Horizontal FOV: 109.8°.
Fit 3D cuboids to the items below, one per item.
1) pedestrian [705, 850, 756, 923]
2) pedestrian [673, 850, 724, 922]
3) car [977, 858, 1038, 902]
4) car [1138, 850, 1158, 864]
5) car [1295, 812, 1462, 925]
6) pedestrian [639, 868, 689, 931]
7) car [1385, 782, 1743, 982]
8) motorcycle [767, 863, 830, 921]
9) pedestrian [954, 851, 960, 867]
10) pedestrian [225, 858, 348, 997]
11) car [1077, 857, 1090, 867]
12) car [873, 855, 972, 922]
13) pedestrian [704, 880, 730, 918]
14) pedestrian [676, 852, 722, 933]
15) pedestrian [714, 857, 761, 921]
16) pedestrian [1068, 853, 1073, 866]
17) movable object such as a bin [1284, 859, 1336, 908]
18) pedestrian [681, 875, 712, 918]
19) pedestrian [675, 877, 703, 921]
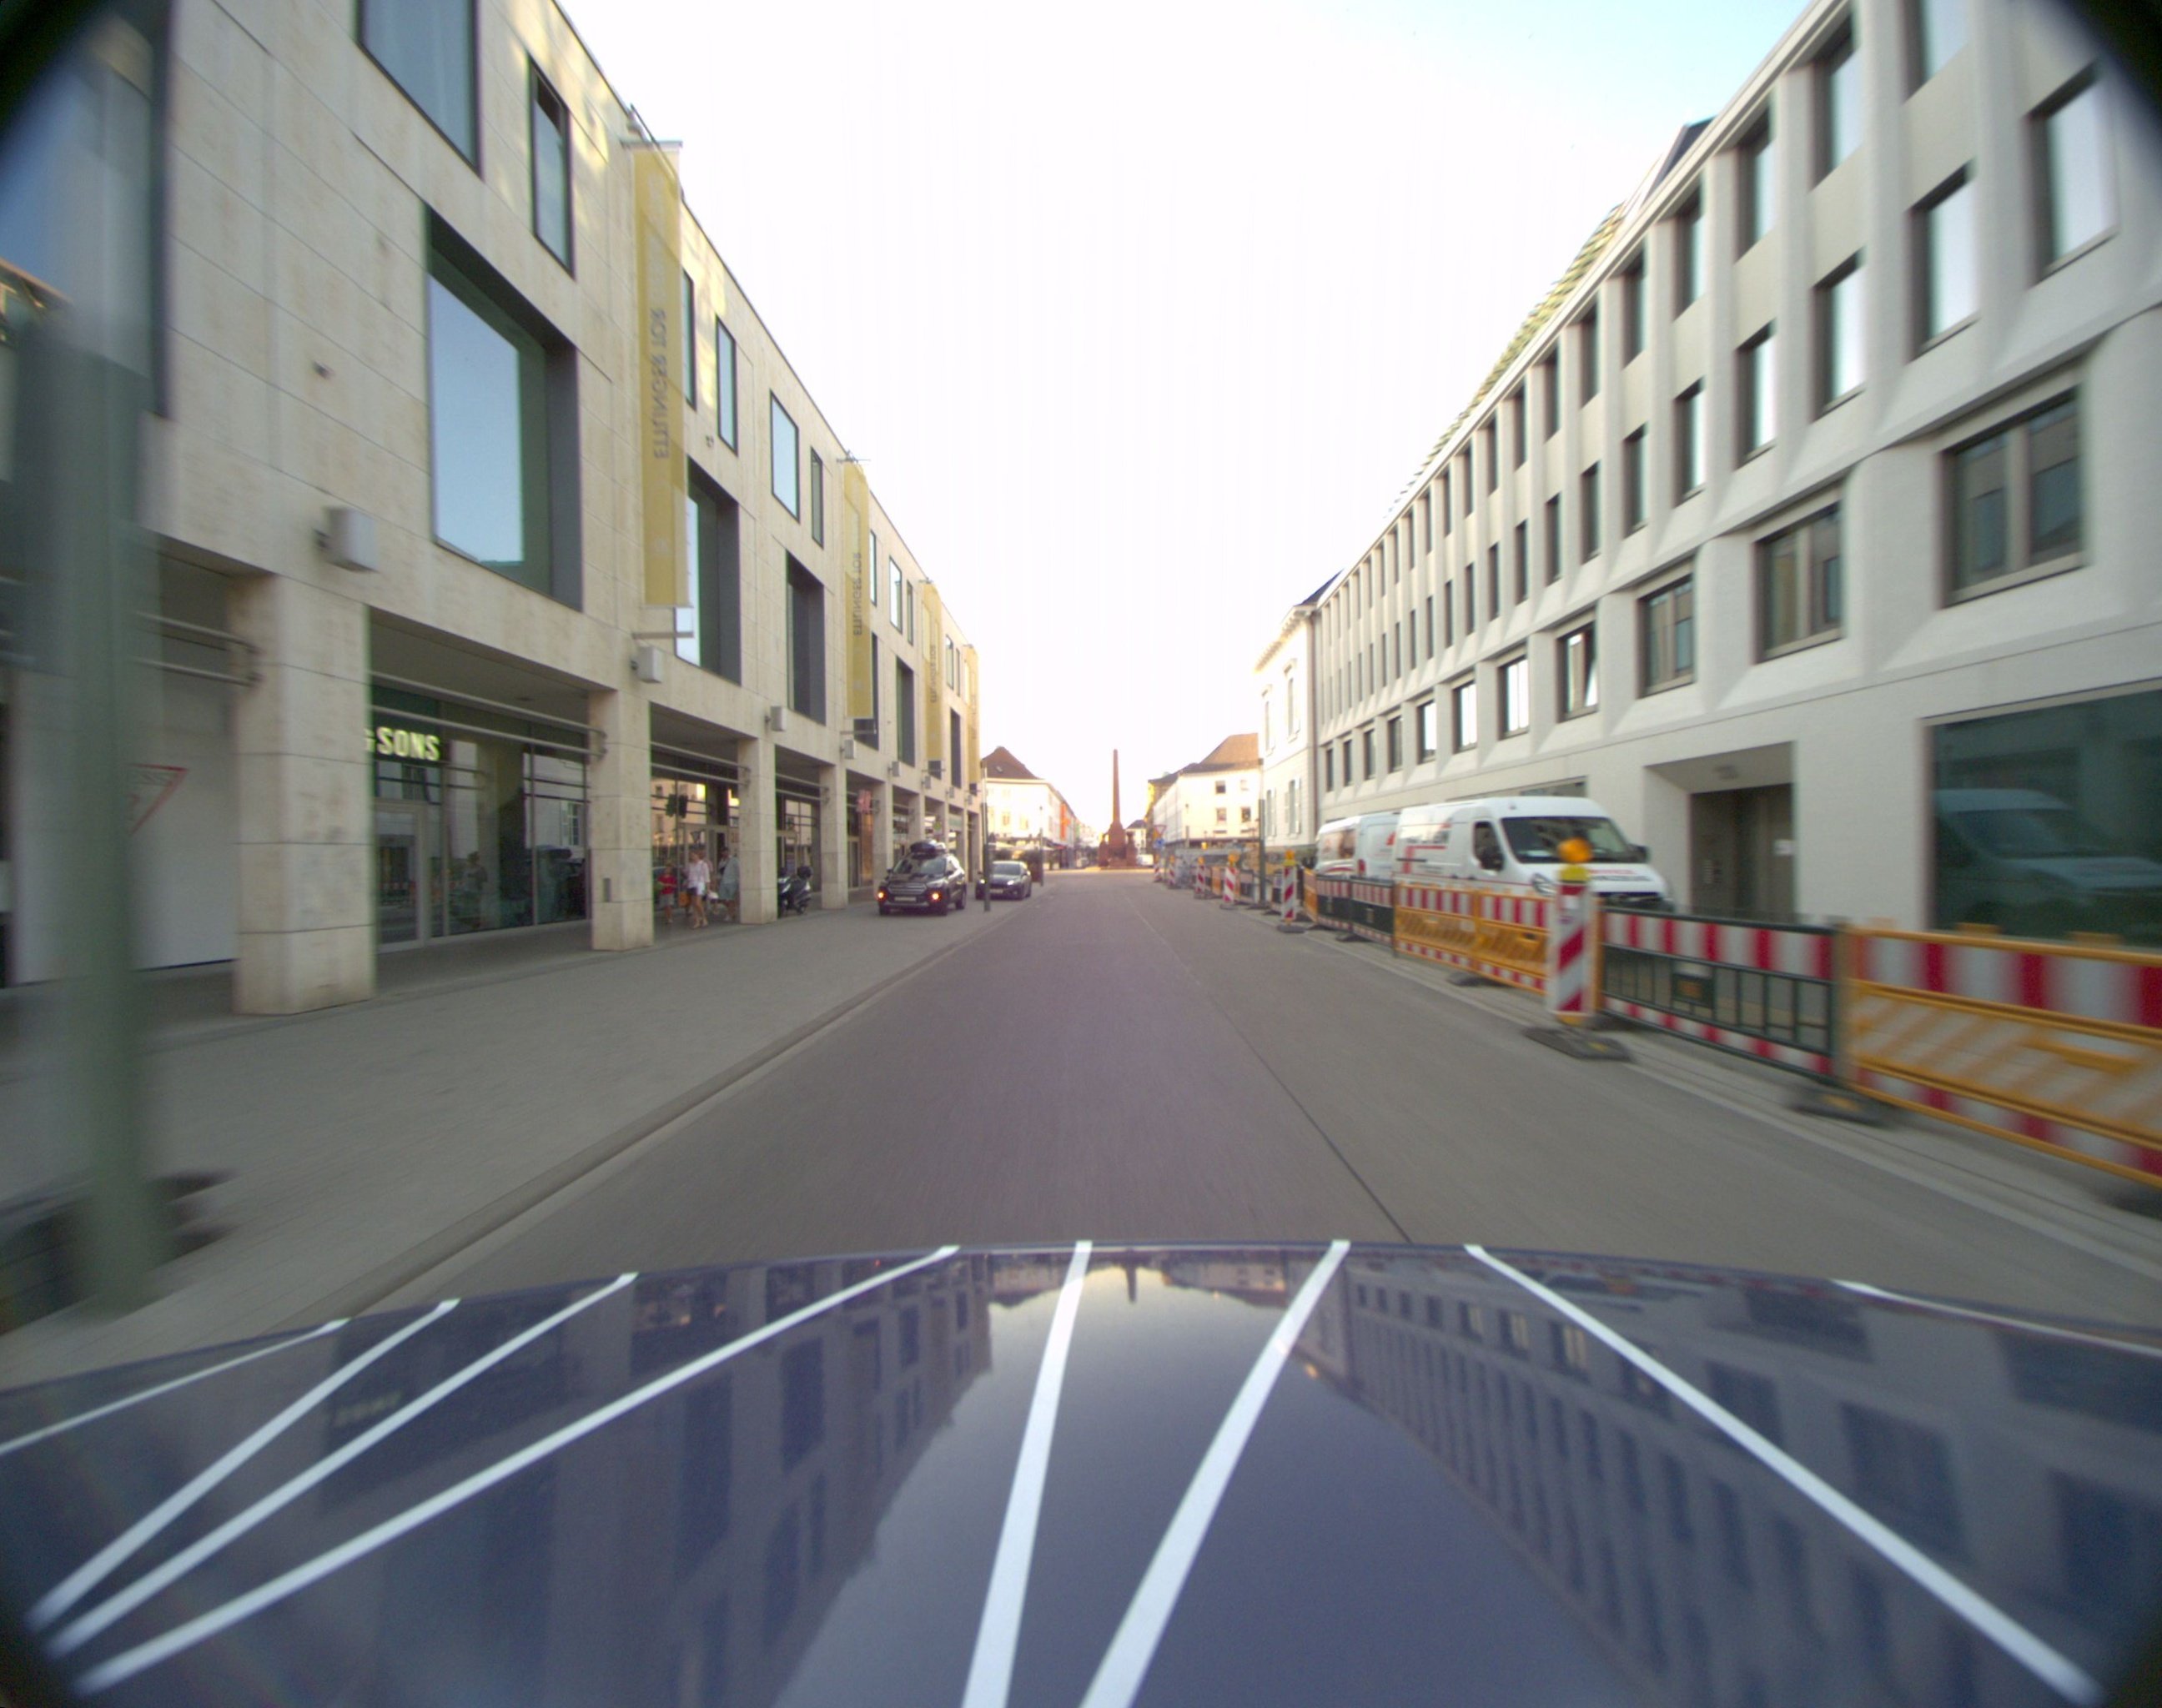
[{"bbox_3d":[-8.334,0.763,18.093,0.766,1.671,0.877,-1,-1,1],"label":"pedestrian"},{"bbox_3d":[-9.163,0.762,18.230,0.766,1.671,0.877,-1,-1,1],"label":"pedestrian"},{"bbox_3d":[-2.837,0.965,30.006,1.799,1.481,4.193,2,0,2],"label":"car"},{"bbox_3d":[9.111,0.405,103.260,2.021,1.815,4.458,-1,0,-4],"label":"car"},{"bbox_3d":[7.463,0.317,19.902,2.178,2.456,5.999,-1,0,2],"label":"car"},{"bbox_3d":[-9.060,0.972,16.517,0.635,1.337,0.775,-1,-1,1],"label":"pedestrian"},{"bbox_3d":[7.204,0.344,12.452,2.179,2.456,5.999,-1,0,2],"label":"car"},{"bbox_3d":[-7.304,0.950,19.766,0.694,1.408,2.136,-1,0,4],"label":"motorcycle"},{"bbox_3d":[-14.377,0.546,87.953,0.508,1.807,0.719,-1,1,4],"label":"pedestrian"},{"bbox_3d":[-9.348,0.845,8.967,0.635,1.558,0.775,-1,-1,1],"label":"pedestrian"},{"bbox_3d":[0.382,1.107,111.279,1.781,1.416,3.961,-1,0,1],"label":"car"},{"bbox_3d":[-4.375,0.883,21.590,1.772,1.628,4.057,2,0,2],"label":"car"},{"bbox_3d":[-9.459,1.159,19.752,0.421,0.980,0.526,-1,-1,1],"label":"pedestrian"},{"bbox_3d":[-8.100,0.800,16.130,0.592,1.688,0.696,-1,0,0],"label":"pedestrian"},{"bbox_3d":[-8.589,0.876,19.016,0.766,1.558,0.877,-1,-1,1],"label":"pedestrian"},{"bbox_3d":[-1.464,0.748,104.133,0.603,1.691,0.713,-1,1,-3],"label":"pedestrian"},{"bbox_3d":[7.222,0.918,24.034,1.047,1.458,1.392,-1,1,-10],"label":"movable object such as a bin"},{"bbox_3d":[-10.016,1.099,19.790,0.488,1.090,0.602,-1,-1,1],"label":"pedestrian"},{"bbox_3d":[-9.816,1.117,19.020,0.421,1.090,0.526,-1,-1,1],"label":"pedestrian"}]
